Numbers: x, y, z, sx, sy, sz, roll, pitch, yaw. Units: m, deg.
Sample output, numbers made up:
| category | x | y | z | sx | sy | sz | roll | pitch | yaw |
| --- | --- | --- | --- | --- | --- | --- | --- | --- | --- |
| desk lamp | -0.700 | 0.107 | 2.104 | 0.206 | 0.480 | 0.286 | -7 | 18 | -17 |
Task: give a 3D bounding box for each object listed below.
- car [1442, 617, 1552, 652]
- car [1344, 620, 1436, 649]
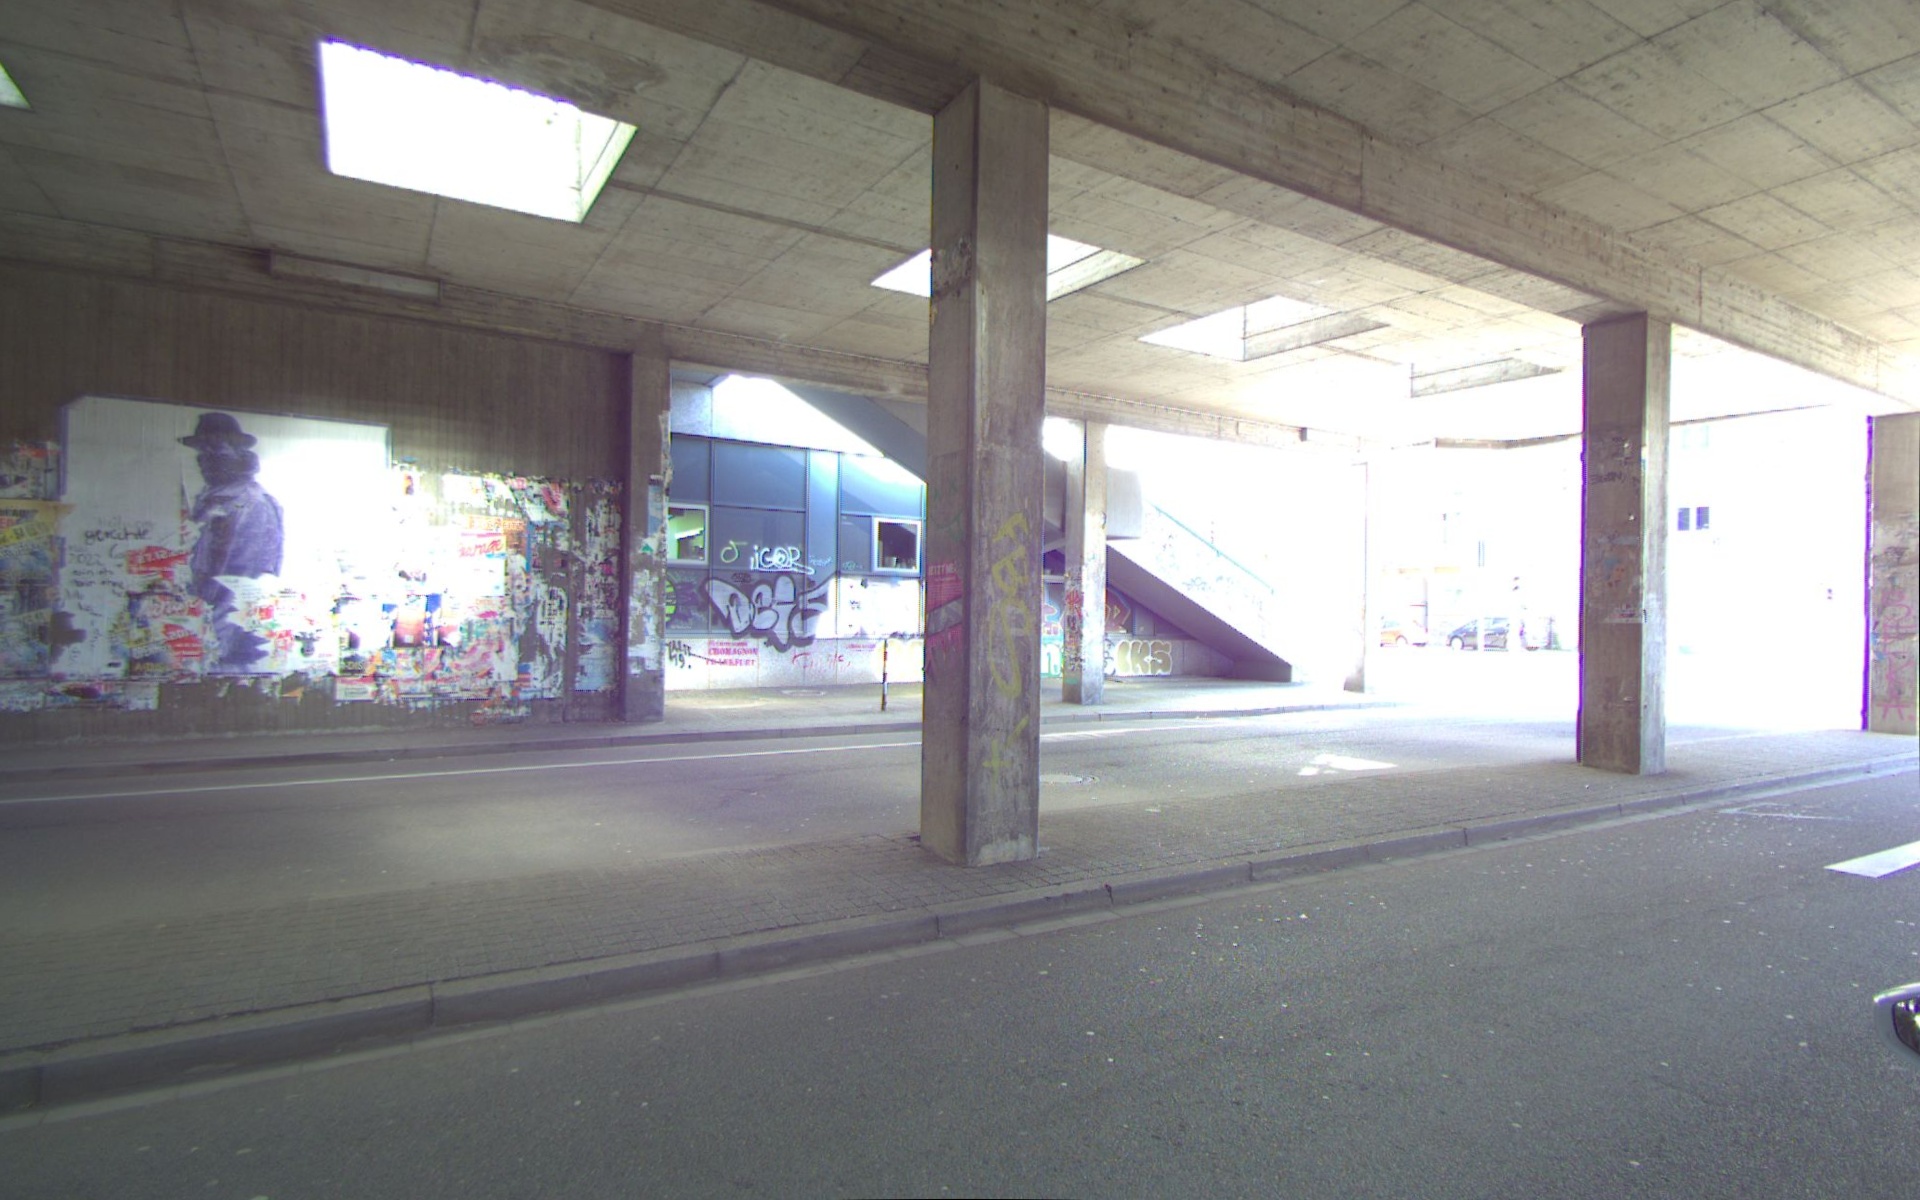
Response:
| category | x | y | z | sx | sy | sz | roll | pitch | yaw |
| --- | --- | --- | --- | --- | --- | --- | --- | --- | --- |
| car | 25.414 | 1.590 | 47.656 | 2.240 | 1.571 | 4.111 | 1 | -1 | -29 |
| car | 22.493 | 1.781 | 52.667 | 2.163 | 1.392 | 3.971 | 1 | -1 | -28 |
